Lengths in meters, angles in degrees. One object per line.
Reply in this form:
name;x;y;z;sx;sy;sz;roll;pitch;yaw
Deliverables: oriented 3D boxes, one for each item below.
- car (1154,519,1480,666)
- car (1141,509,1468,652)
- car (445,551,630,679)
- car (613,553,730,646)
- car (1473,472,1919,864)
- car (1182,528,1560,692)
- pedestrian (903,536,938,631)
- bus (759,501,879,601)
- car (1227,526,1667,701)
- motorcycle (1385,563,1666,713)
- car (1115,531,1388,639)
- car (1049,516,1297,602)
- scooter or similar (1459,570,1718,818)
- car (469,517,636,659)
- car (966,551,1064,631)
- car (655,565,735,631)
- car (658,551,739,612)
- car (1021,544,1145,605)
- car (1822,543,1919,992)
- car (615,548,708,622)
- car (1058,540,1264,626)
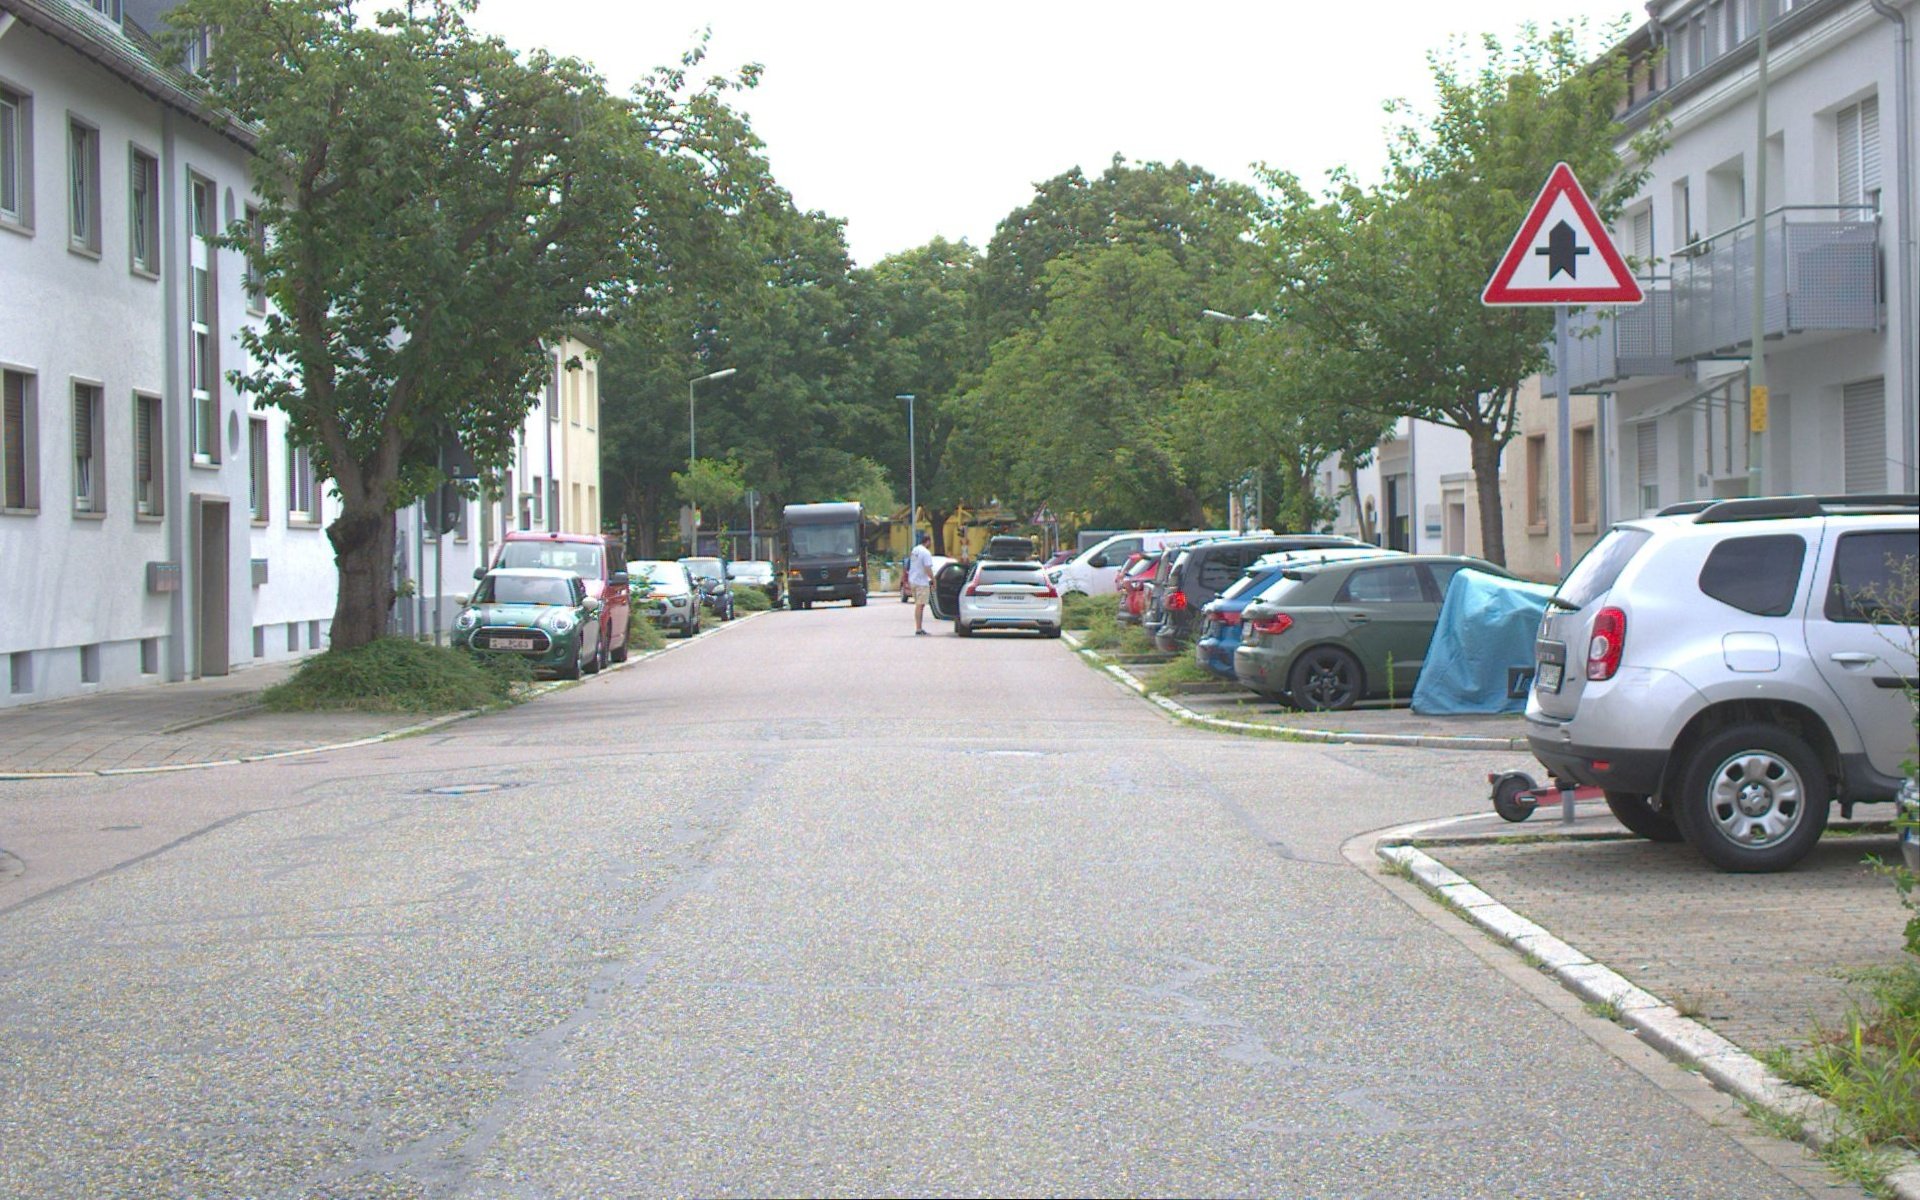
car;4.313;-0.106;41.938;3.747;1.559;1.773;-3;1;1
car;4.417;-0.260;44.498;3.987;1.612;1.867;-3;1;1
car;-5.640;0.172;46.318;1.763;1.549;3.730;-3;1;3
car;-4.870;-0.034;58.450;1.651;1.456;3.552;-3;1;-1
car;4.510;0.227;15.961;3.924;1.627;1.868;-3;1;1
car;4.046;0.086;34.210;3.517;1.407;1.559;-3;1;1
pedestrian;-0.719;-0.308;62.881;0.522;1.698;0.444;-3;1;4
bus;-4.173;-1.486;103.648;3.004;2.751;8.924;-3;1;1
car;4.408;0.108;31.539;3.747;1.361;1.773;-3;1;1
motorcycle;4.765;0.309;29.073;2.193;1.206;0.940;-1;1;-2
car;4.452;-0.238;52.926;3.987;1.434;1.722;-3;1;0
car;4.430;-0.866;71.893;4.974;1.513;1.769;-3;1;-1
scooter or similar;3.365;0.492;18.418;1.238;1.239;0.422;-3;1;-12
car;-6.090;-0.203;51.824;1.993;2.007;4.521;-1;1;-1
car;1.025;-0.184;63.516;1.687;1.349;3.826;-3;1;1
car;-5.728;-0.064;74.598;1.538;1.297;3.722;-3;1;-2
car;-6.317;-0.464;83.311;1.651;1.372;3.722;-3;1;-1
car;3.591;-0.764;100.925;3.530;1.597;1.773;-3;1;1
car;5.015;0.437;11.060;3.987;1.417;1.712;-3;1;0
car;-6.014;-0.316;69.535;1.651;1.372;3.722;-3;1;-2
car;4.045;-0.355;69.629;3.987;1.513;1.722;-3;1;0
